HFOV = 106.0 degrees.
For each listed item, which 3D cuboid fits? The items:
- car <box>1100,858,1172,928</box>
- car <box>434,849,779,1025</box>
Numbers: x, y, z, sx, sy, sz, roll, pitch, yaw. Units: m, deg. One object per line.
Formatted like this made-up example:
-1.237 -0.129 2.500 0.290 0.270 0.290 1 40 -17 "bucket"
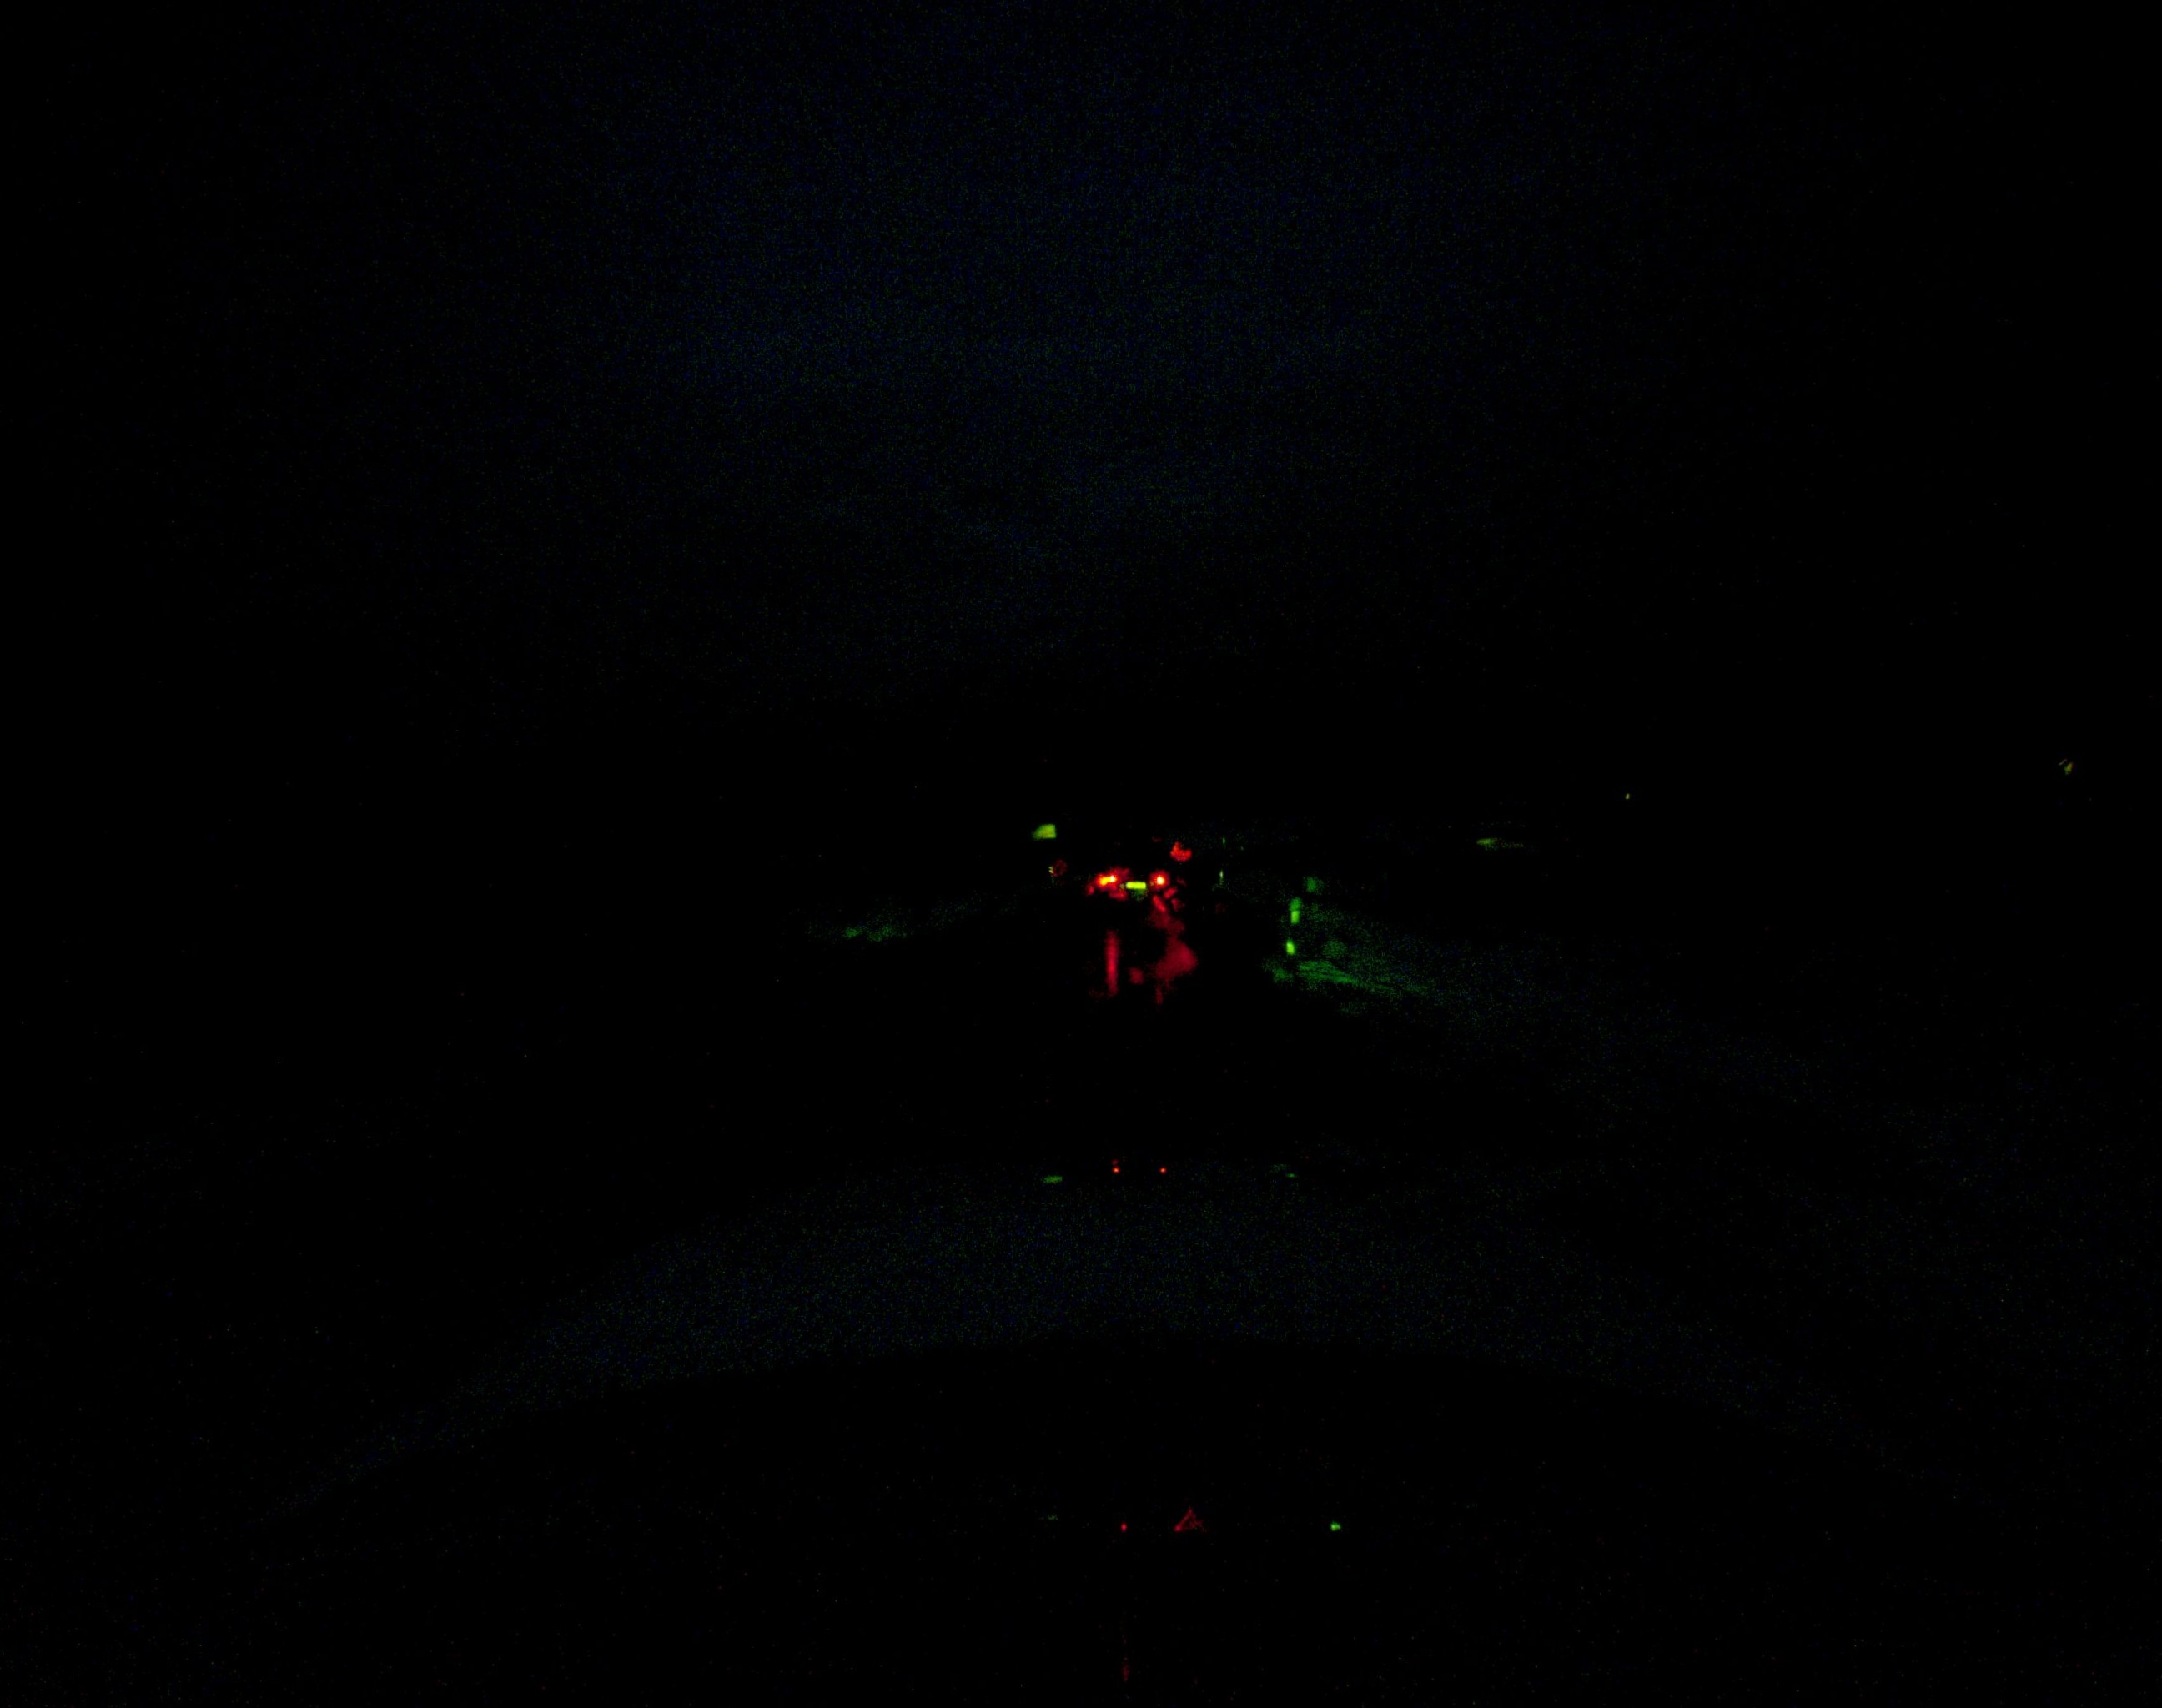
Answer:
1.487 1.057 23.230 1.816 1.797 3.577 1 -1 0 "car"
-4.879 0.731 9.013 1.713 1.534 3.516 -1 0 0 "car"
